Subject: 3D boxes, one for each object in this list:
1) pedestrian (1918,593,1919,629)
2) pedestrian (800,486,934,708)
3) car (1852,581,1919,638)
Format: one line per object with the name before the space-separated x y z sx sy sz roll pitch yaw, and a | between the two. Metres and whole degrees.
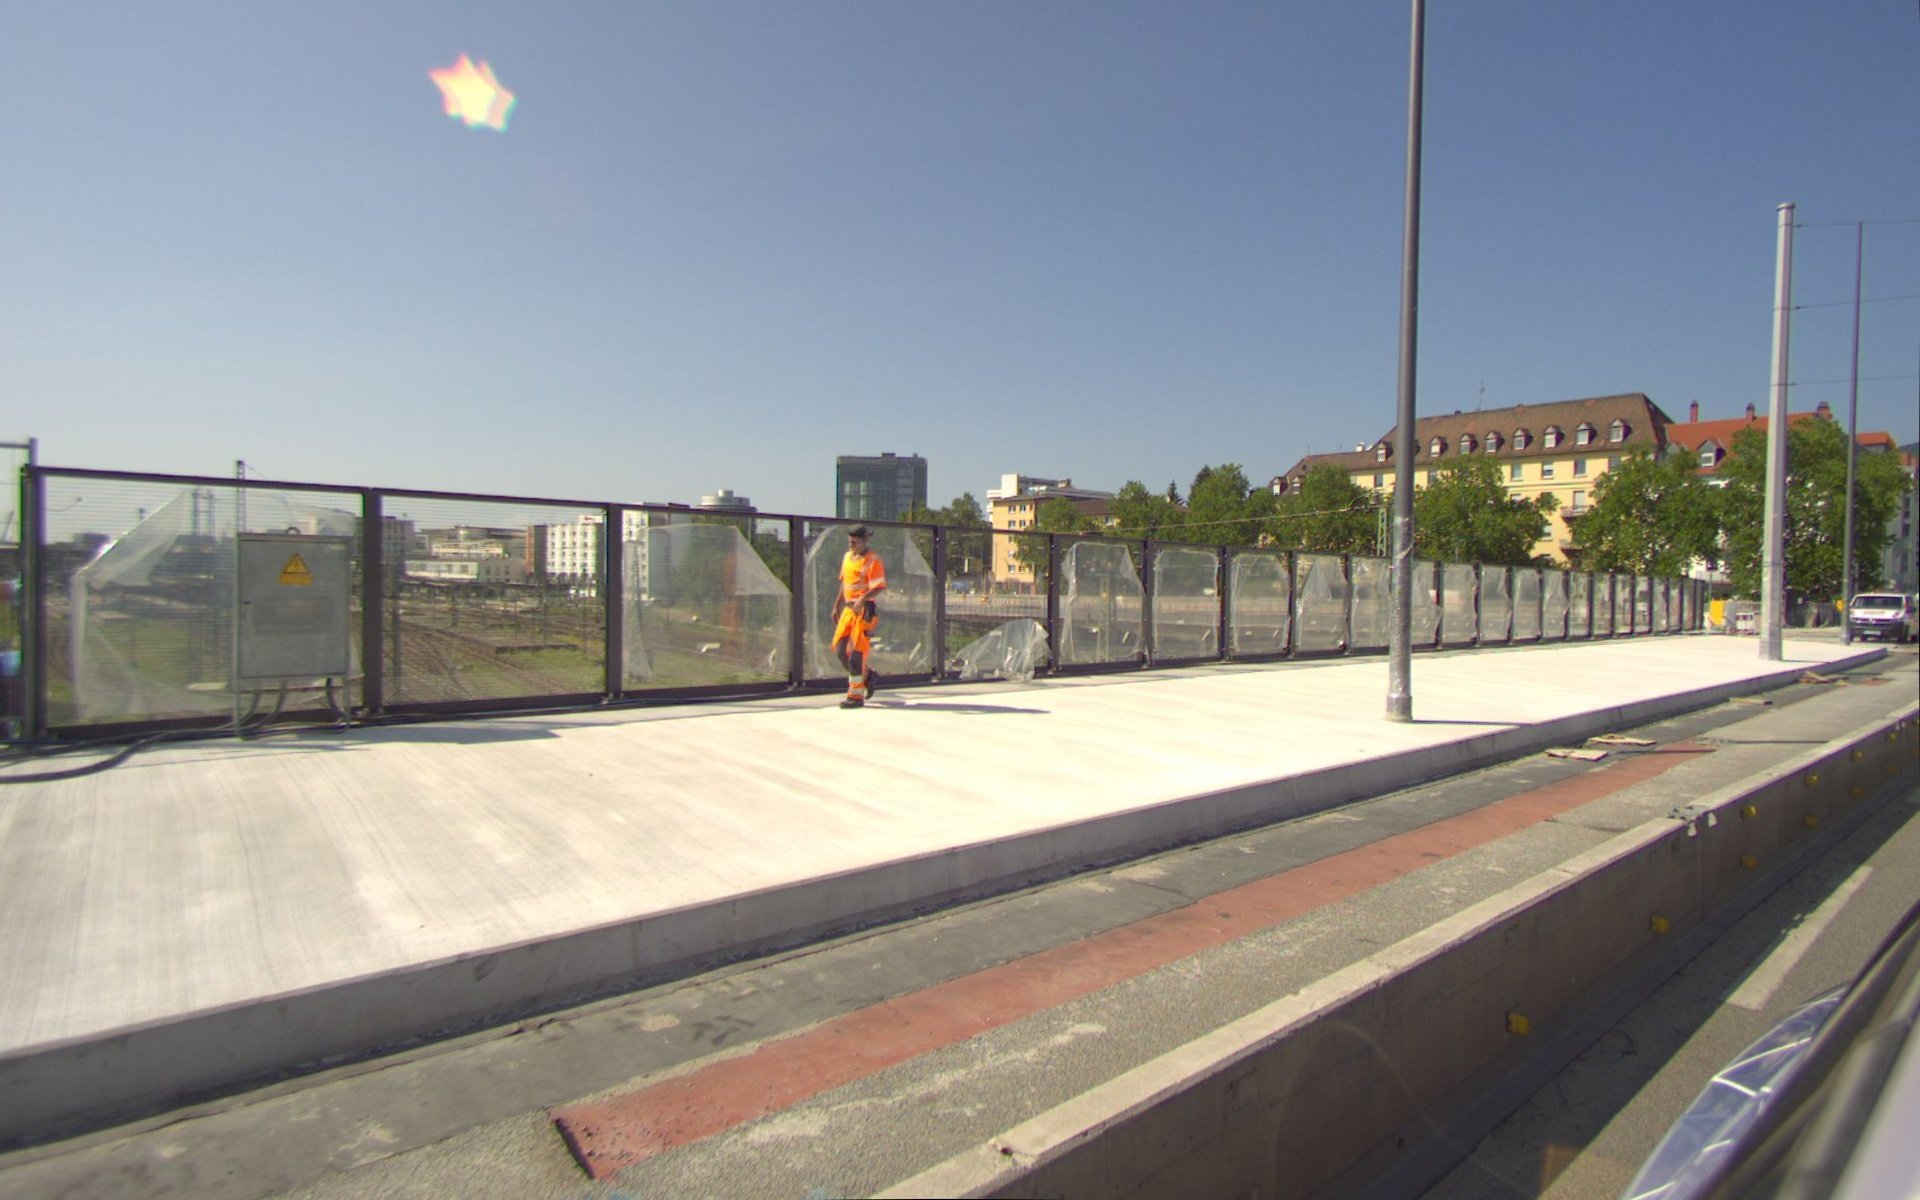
pedestrian | 46.225 0.387 48.172 0.829 2.009 0.761 -1 3 -41
pedestrian | -0.888 -0.044 9.671 0.998 1.988 0.733 0 3 -41
car | 38.053 0.387 40.954 6.353 2.116 1.938 1 1 -40
